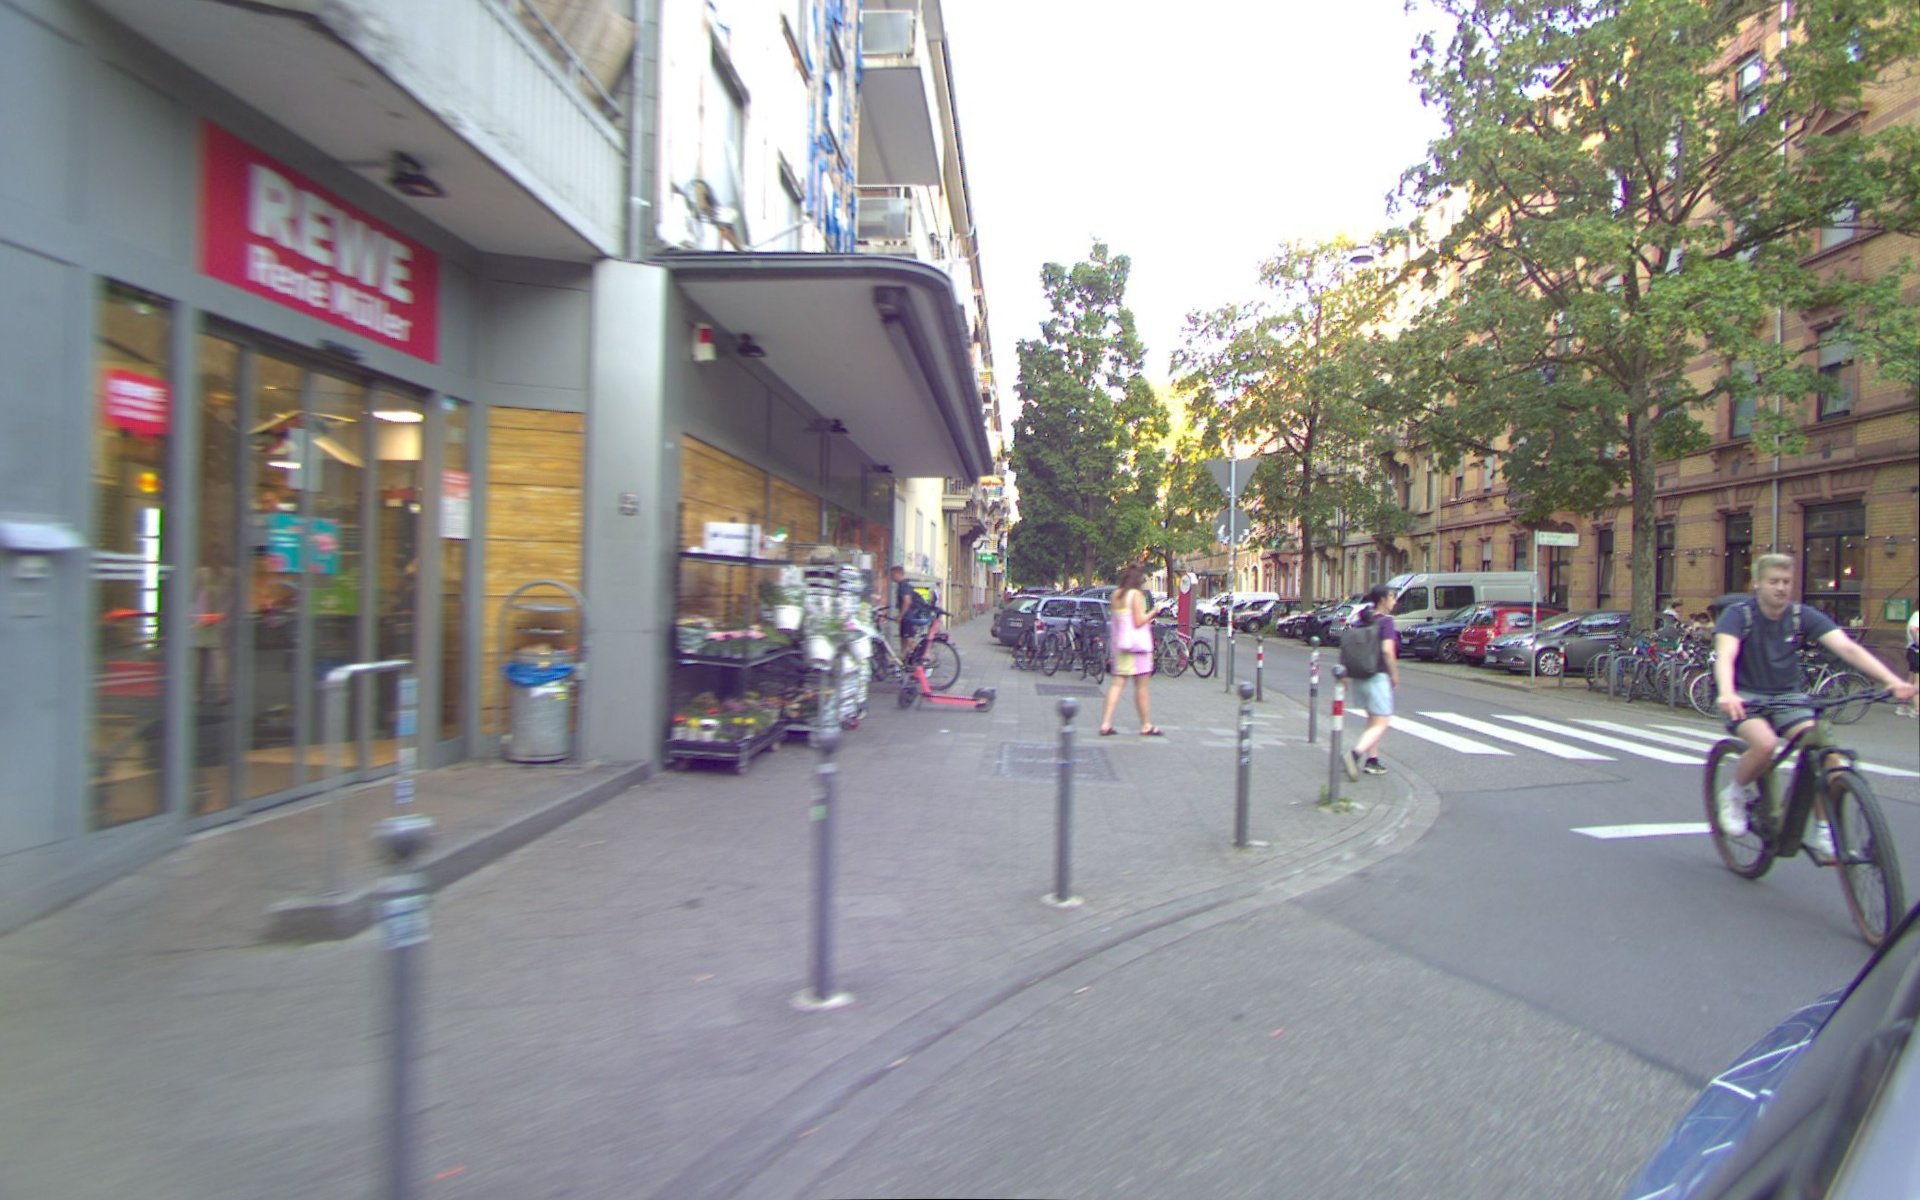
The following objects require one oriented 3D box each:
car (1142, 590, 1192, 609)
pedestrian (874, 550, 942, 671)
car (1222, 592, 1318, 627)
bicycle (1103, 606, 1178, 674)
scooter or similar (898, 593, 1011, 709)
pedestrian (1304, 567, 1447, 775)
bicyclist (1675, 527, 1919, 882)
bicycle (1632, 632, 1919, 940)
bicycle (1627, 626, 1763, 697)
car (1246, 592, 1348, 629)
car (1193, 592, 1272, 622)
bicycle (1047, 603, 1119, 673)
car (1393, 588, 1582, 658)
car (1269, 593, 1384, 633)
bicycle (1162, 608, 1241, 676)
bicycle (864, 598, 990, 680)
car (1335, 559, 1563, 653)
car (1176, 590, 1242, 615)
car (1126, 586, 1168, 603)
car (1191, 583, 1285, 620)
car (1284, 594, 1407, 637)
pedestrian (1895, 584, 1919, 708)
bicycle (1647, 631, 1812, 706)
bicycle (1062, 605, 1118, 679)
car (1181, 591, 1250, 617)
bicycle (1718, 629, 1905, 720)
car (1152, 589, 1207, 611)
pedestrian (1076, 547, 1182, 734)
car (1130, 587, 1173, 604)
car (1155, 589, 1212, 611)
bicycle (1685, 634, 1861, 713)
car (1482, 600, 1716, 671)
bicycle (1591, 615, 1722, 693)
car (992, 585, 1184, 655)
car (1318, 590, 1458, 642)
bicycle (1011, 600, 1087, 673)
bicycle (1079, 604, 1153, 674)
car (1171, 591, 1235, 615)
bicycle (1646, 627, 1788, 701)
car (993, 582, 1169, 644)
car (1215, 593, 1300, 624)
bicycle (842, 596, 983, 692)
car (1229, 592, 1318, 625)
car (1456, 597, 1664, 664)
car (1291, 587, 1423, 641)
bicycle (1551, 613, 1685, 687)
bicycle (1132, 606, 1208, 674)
[{"bbox_3d":[17.536,-0.038,85.903,3.839,1.585,1.792,0,0,2],"label":"car"},{"bbox_3d":[-0.776,0.145,15.202,0.757,1.737,0.857,3,1,12],"label":"pedestrian"},{"bbox_3d":[14.436,0.434,47.249,3.899,1.556,1.852,0,0,-1],"label":"car"},{"bbox_3d":[3.249,0.699,18.395,0.558,1.095,1.788,2,1,-16],"label":"bicycle"},{"bbox_3d":[-0.067,0.567,11.476,1.208,1.248,0.416,2,0,-5],"label":"scooter or similar"},{"bbox_3d":[3.383,0.563,8.278,0.850,1.627,0.540,2,1,-9],"label":"pedestrian"},{"bbox_3d":[4.168,0.466,5.036,0.784,1.592,0.821,1,-1,20],"label":"bicyclist"},{"bbox_3d":[4.159,0.764,5.029,0.784,1.154,2.328,1,-1,19],"label":"bicycle"},{"bbox_3d":[12.080,0.989,16.647,1.845,1.091,0.714,0,0,-10],"label":"bicycle"},{"bbox_3d":[14.945,0.453,45.041,3.899,1.556,1.852,0,0,-1],"label":"car"},{"bbox_3d":[14.817,0.358,55.090,3.795,1.556,1.734,0,0,-1],"label":"car"},{"bbox_3d":[2.148,0.641,17.892,0.558,1.095,1.788,2,1,-16],"label":"bicycle"},{"bbox_3d":[13.602,0.578,26.274,3.905,1.683,1.762,-1,0,5],"label":"car"},{"bbox_3d":[14.657,0.495,40.607,3.899,1.556,1.852,0,0,-1],"label":"car"},{"bbox_3d":[4.439,0.753,18.731,0.558,1.095,1.788,2,1,-16],"label":"bicycle"},{"bbox_3d":[-0.496,0.560,15.080,1.762,1.069,0.566,3,1,21],"label":"bicycle"},{"bbox_3d":[13.820,0.167,28.852,5.387,2.487,2.120,-1,0,2],"label":"car"},{"bbox_3d":[16.170,0.144,65.856,3.839,1.553,1.792,0,0,2],"label":"car"},{"bbox_3d":[18.792,-0.532,101.713,3.839,1.650,1.792,0,0,2],"label":"car"},{"bbox_3d":[15.867,0.087,57.931,4.758,2.037,2.202,0,0,1],"label":"car"},{"bbox_3d":[14.469,0.576,38.144,3.899,1.556,1.852,0,0,-1],"label":"car"},{"bbox_3d":[14.003,0.659,14.537,0.628,1.767,0.675,0,0,-29],"label":"pedestrian"},{"bbox_3d":[11.547,1.014,15.237,1.852,1.071,0.711,0,0,7],"label":"bicycle"},{"bbox_3d":[2.110,0.656,16.591,0.559,1.096,1.785,2,1,-2],"label":"bicycle"},{"bbox_3d":[15.891,0.232,63.040,3.839,1.553,1.792,0,0,2],"label":"car"},{"bbox_3d":[11.548,0.988,13.773,1.852,1.169,0.711,0,0,7],"label":"bicycle"},{"bbox_3d":[16.815,0.025,77.509,3.839,1.650,1.792,0,0,2],"label":"car"},{"bbox_3d":[1.683,0.377,10.094,0.700,1.767,0.692,2,1,-43],"label":"pedestrian"},{"bbox_3d":[18.659,-0.406,98.786,3.839,1.650,1.792,0,0,2],"label":"car"},{"bbox_3d":[16.649,0.024,75.462,3.839,1.618,1.792,0,0,2],"label":"car"},{"bbox_3d":[11.594,1.033,14.483,1.852,1.065,0.711,0,0,7],"label":"bicycle"},{"bbox_3d":[13.580,0.740,21.690,3.905,1.438,1.626,0,0,5],"label":"car"},{"bbox_3d":[11.814,0.902,17.186,1.845,1.255,0.714,0,0,-10],"label":"bicycle"},{"bbox_3d":[3.039,0.411,23.700,4.364,1.506,1.794,-1,0,-33],"label":"car"},{"bbox_3d":[14.186,0.522,33.683,3.905,1.683,1.762,0,0,5],"label":"car"},{"bbox_3d":[1.518,0.605,17.511,0.669,1.125,1.788,2,1,-16],"label":"bicycle"},{"bbox_3d":[2.754,0.672,18.010,0.558,1.095,1.788,2,1,-16],"label":"bicycle"},{"bbox_3d":[16.288,0.175,67.963,3.839,1.568,1.792,0,0,2],"label":"car"},{"bbox_3d":[12.002,1.004,16.063,1.845,1.091,0.714,0,0,-10],"label":"bicycle"},{"bbox_3d":[3.212,0.292,26.524,4.364,1.506,1.952,-1,0,-33],"label":"car"},{"bbox_3d":[15.193,0.420,51.773,3.795,1.556,1.734,0,0,-1],"label":"car"},{"bbox_3d":[-0.646,0.563,13.572,1.762,1.140,0.606,3,1,21],"label":"bicycle"},{"bbox_3d":[15.350,0.407,49.718,3.795,1.556,1.734,0,0,-1],"label":"car"},{"bbox_3d":[14.178,0.705,24.091,3.905,1.521,1.626,0,0,5],"label":"car"},{"bbox_3d":[13.890,0.462,35.585,3.905,1.847,1.849,0,0,5],"label":"car"},{"bbox_3d":[11.709,0.874,18.058,1.855,1.255,0.710,0,0,13],"label":"bicycle"},{"bbox_3d":[3.816,0.709,18.568,0.558,1.095,1.788,2,1,-16],"label":"bicycle"}]
